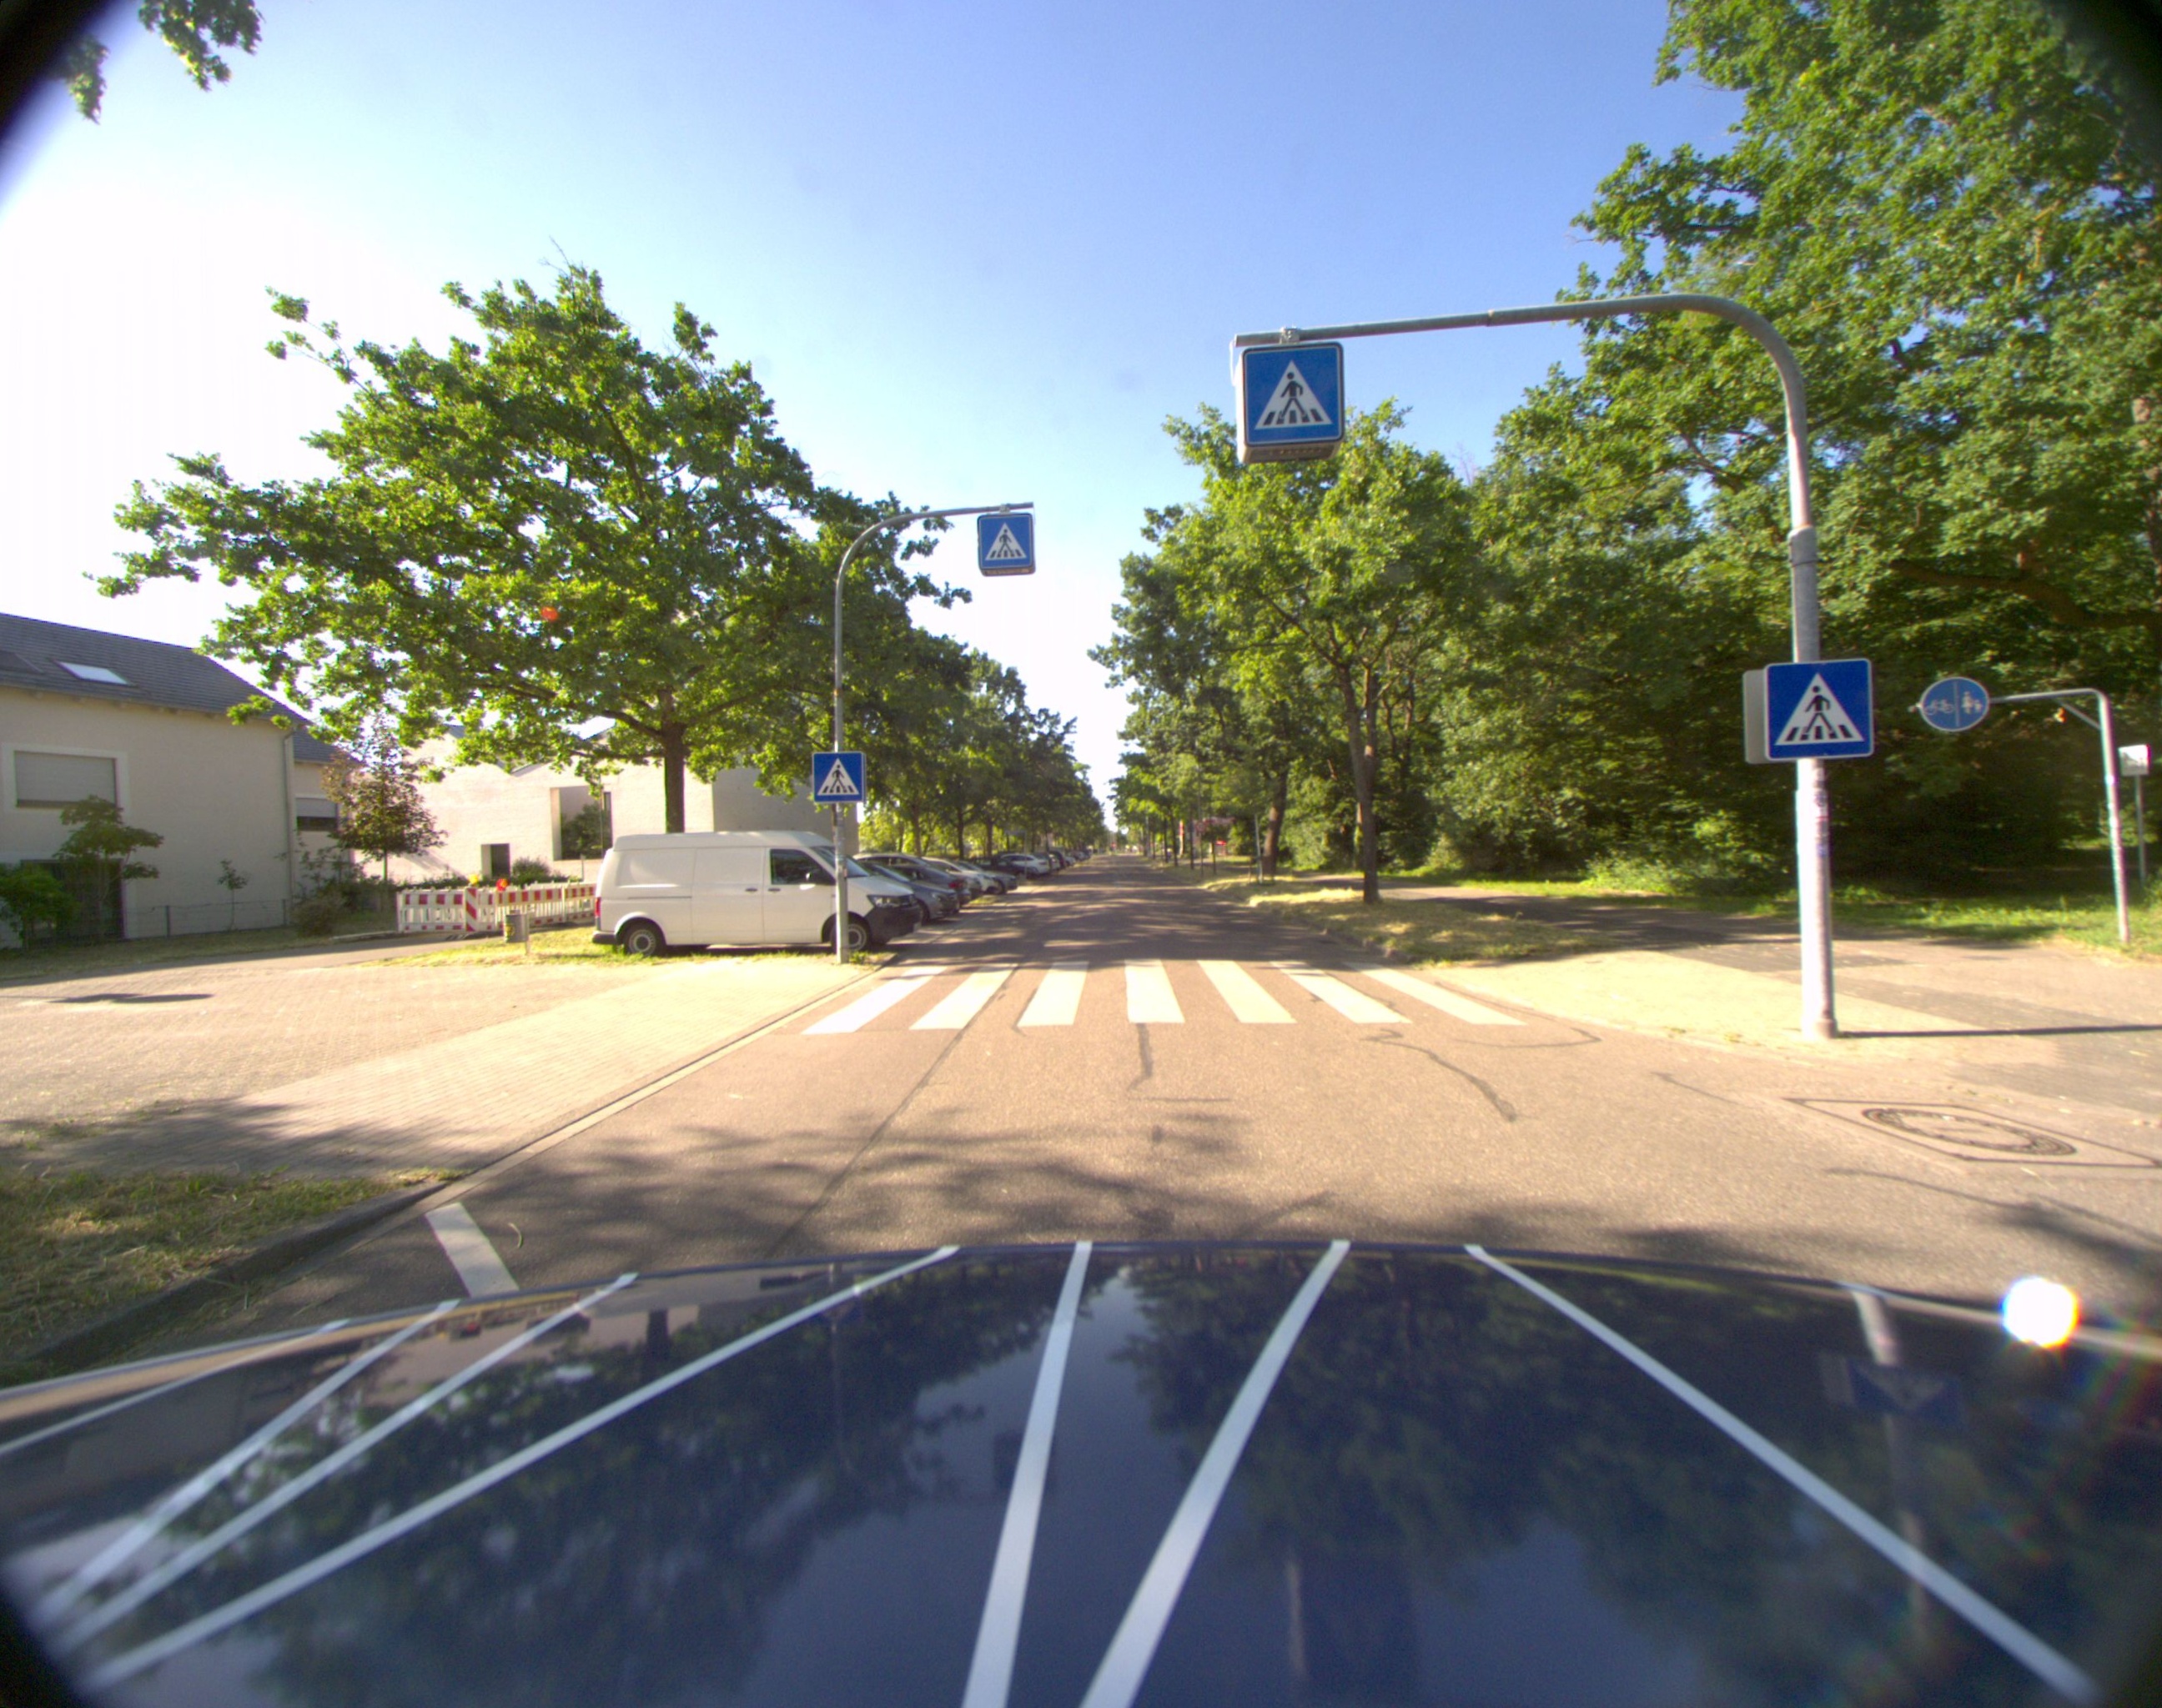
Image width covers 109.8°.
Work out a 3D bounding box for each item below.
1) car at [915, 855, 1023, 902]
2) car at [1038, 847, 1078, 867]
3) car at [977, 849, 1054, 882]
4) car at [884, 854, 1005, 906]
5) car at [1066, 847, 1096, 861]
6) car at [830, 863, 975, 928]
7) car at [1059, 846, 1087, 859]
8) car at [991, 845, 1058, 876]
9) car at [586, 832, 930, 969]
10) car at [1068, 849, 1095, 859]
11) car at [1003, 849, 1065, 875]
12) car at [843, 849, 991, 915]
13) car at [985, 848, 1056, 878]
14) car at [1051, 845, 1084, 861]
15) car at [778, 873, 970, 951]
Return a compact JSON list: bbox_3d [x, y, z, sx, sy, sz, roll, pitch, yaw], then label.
[{"bbox_3d":[-4.516,0.978,30.826,4.018,1.650,1.533,-3,1,4],"label":"car"},{"bbox_3d":[-2.356,0.290,79.850,3.996,1.838,1.863,-3,1,3],"label":"car"},{"bbox_3d":[-3.937,0.694,45.894,4.394,1.733,1.533,-3,1,4],"label":"car"},{"bbox_3d":[-4.960,0.938,27.842,4.018,1.669,1.533,-3,1,4],"label":"car"},{"bbox_3d":[0.011,0.047,112.023,4.150,1.838,1.949,-3,1,3],"label":"car"},{"bbox_3d":[-4.804,1.112,20.692,3.515,1.533,1.448,-3,1,4],"label":"car"},{"bbox_3d":[-1.228,-0.266,117.129,4.150,1.838,1.949,-3,1,3],"label":"car"},{"bbox_3d":[-3.942,0.429,53.358,4.394,1.977,1.533,-3,1,4],"label":"car"},{"bbox_3d":[-5.351,0.742,13.052,5.045,2.069,1.891,-1,1,2],"label":"car"},{"bbox_3d":[0.135,-0.036,122.110,4.150,1.401,1.800,-3,1,3],"label":"car"},{"bbox_3d":[-3.514,0.611,57.218,4.394,1.733,1.533,-3,1,4],"label":"car"},{"bbox_3d":[-4.956,0.832,23.244,4.018,1.783,1.713,-3,1,4],"label":"car"},{"bbox_3d":[-3.964,0.596,50.054,4.394,1.733,1.533,-3,1,4],"label":"car"},{"bbox_3d":[-1.790,-0.150,100.818,4.150,1.838,1.949,-3,1,3],"label":"car"},{"bbox_3d":[-4.862,1.363,18.198,3.996,1.554,1.758,-3,1,4],"label":"car"}]
